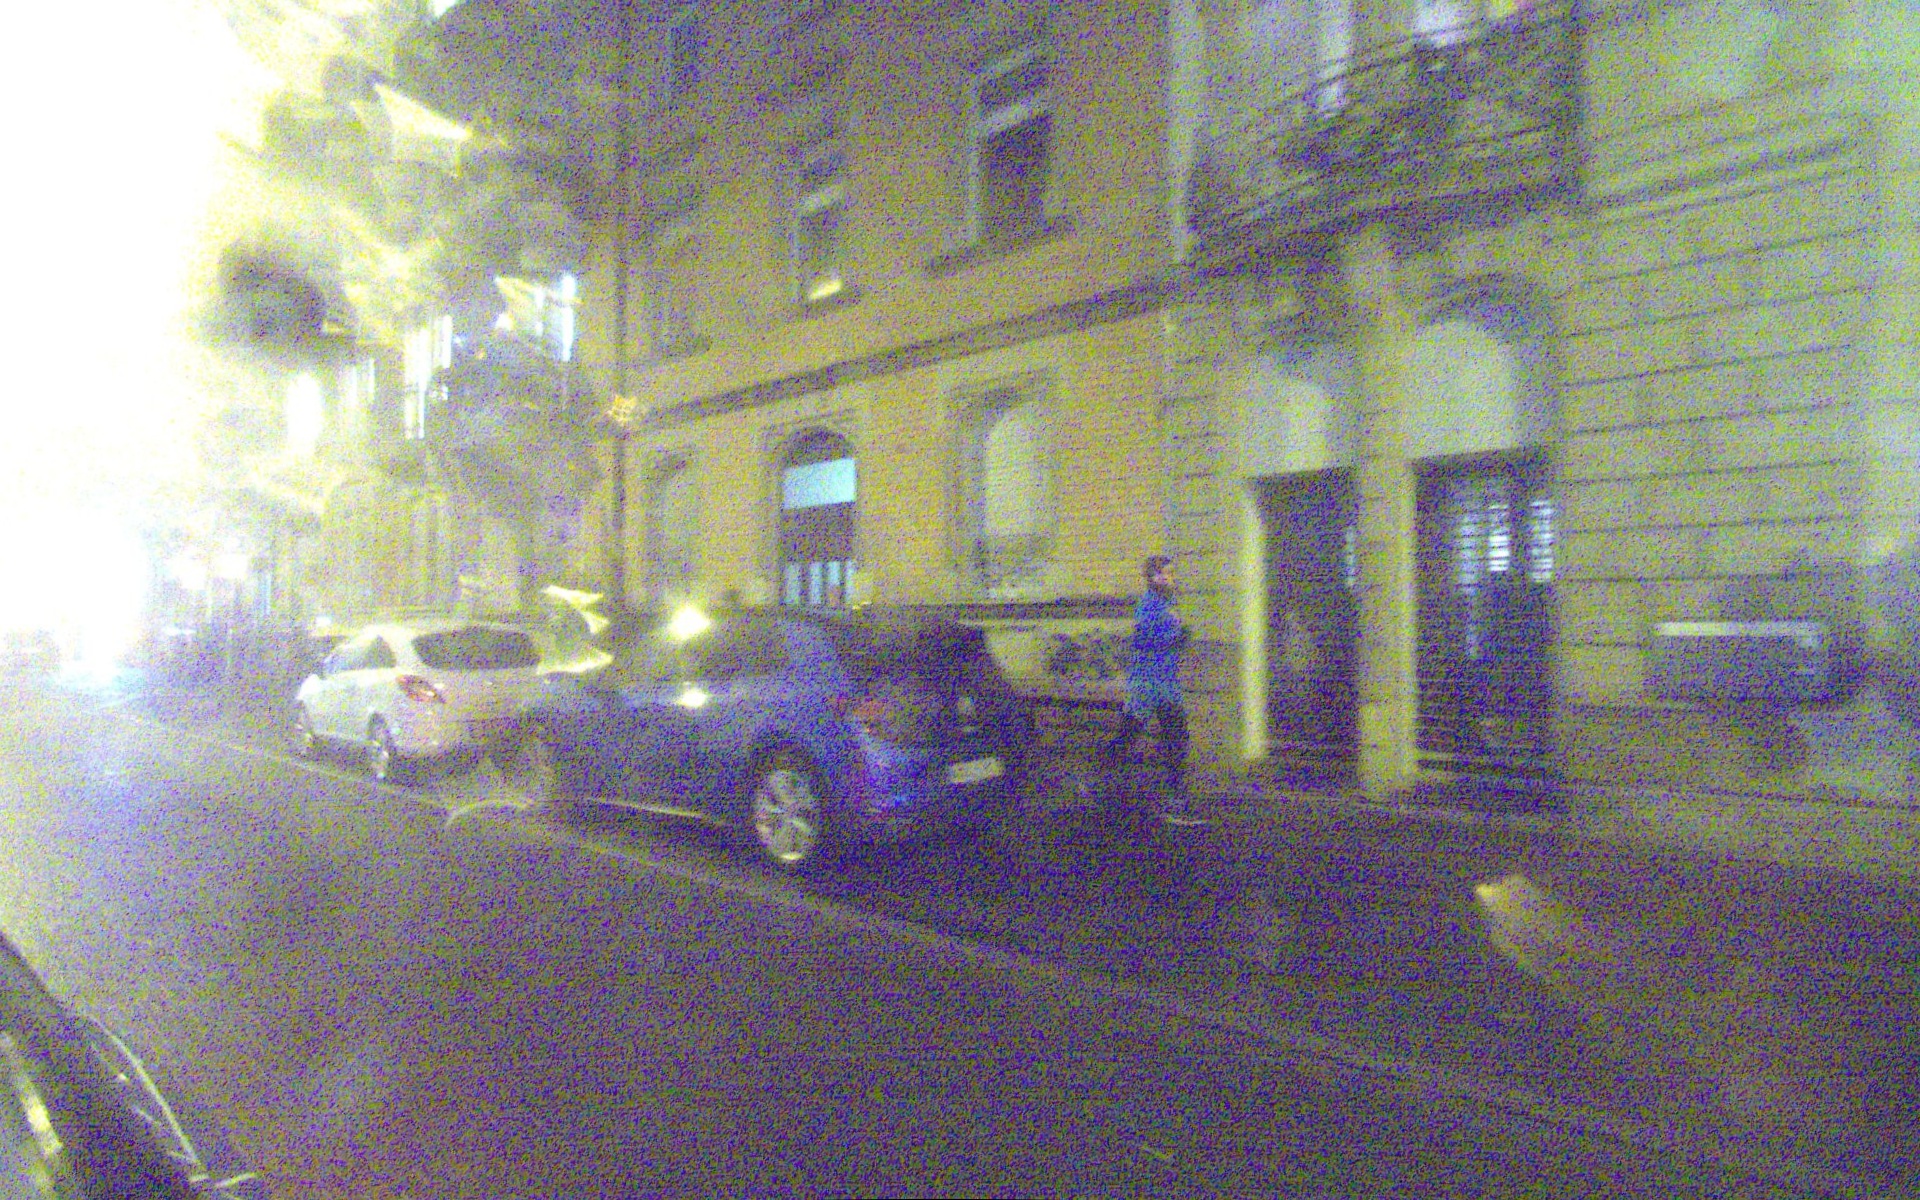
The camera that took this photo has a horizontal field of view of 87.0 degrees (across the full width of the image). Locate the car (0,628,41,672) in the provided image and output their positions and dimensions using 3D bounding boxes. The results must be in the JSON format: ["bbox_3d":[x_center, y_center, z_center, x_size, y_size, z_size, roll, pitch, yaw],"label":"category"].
[{"bbox_3d":[-34.412,1.773,36.248,3.733,1.489,1.828,-2,-1,41],"label":"car"}]

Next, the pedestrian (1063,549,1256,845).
[{"bbox_3d":[1.352,0.618,6.936,1.078,1.846,0.667,-2,-1,43],"label":"pedestrian"}]

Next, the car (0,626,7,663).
[{"bbox_3d":[-43.295,1.980,44.388,3.733,1.592,1.828,-2,-1,41],"label":"car"}]

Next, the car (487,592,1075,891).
[{"bbox_3d":[-1.425,0.766,7.031,4.154,1.490,1.699,-2,-2,38],"label":"car"}]

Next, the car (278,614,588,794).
[{"bbox_3d":[-5.529,0.928,10.416,3.786,1.489,1.697,-2,-1,43],"label":"car"}]

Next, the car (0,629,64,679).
[{"bbox_3d":[-30.223,1.708,32.420,3.733,1.489,1.828,-2,-1,41],"label":"car"}]

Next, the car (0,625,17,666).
[{"bbox_3d":[-39.000,1.815,40.249,3.733,1.592,1.828,-2,-1,41],"label":"car"}]
